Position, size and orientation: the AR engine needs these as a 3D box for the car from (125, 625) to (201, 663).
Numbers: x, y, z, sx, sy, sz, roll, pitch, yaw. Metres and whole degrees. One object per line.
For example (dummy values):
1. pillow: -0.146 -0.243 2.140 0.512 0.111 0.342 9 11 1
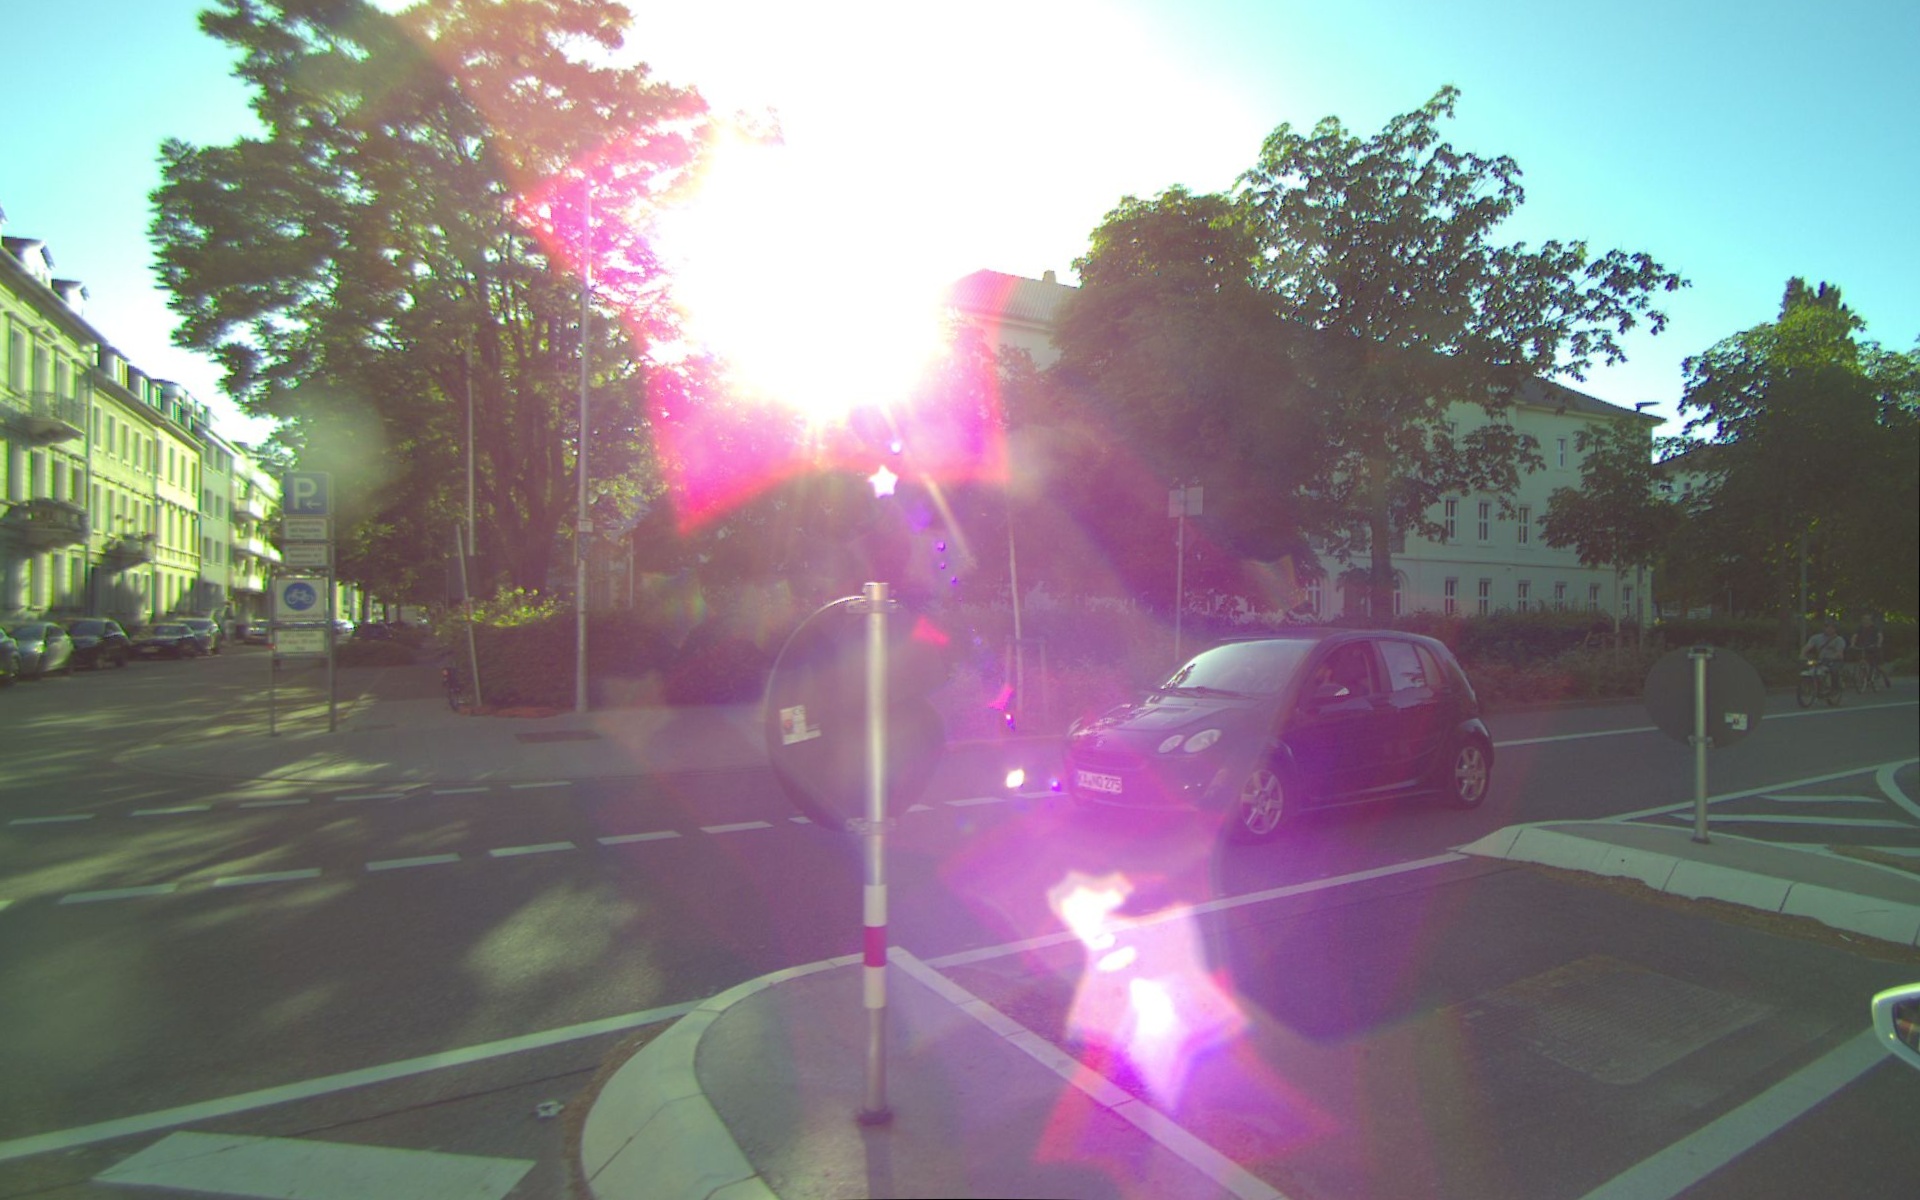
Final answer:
1. car: -32.071 1.735 40.533 1.789 1.439 3.969 1 -2 -29

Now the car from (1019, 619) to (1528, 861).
1. car: 2.570 0.903 7.966 3.957 1.478 1.748 1 -2 -33

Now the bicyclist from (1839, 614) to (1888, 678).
1. bicyclist: 22.014 1.118 24.477 0.716 1.542 0.626 0 -4 -30

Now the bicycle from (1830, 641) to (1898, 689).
1. bicycle: 22.019 1.577 24.453 2.003 1.135 0.594 1 -4 -31

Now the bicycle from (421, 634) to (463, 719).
1. bicycle: -8.343 1.182 16.171 0.553 1.246 2.310 1 -1 -28

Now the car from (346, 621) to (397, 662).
1. car: -25.470 1.766 43.583 1.791 1.699 3.717 1 -2 -29

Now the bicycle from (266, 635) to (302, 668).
1. bicycle: -21.224 1.613 31.564 0.730 1.008 2.094 1 -3 -28

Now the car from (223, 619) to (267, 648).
1. car: -43.135 2.030 60.672 1.627 1.695 3.972 1 -2 -28

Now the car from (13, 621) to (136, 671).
1. car: -27.330 1.392 31.142 1.975 1.439 3.971 1 -2 -28

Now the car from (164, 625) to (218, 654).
1. car: -35.007 1.774 45.792 1.459 1.286 3.388 1 -2 -29

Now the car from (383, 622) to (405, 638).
1. car: -46.037 2.426 81.712 1.539 1.324 3.452 1 -2 -29

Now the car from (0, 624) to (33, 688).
1. car: -22.574 1.257 22.352 1.935 1.439 4.167 1 -2 -30

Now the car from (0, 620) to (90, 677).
1. car: -25.077 1.264 26.893 1.856 1.439 4.237 1 -2 -29

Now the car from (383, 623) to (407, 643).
1. car: -40.914 2.369 72.772 1.512 1.445 3.716 1 -1 -29

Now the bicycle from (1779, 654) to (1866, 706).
1. bicycle: 16.847 1.534 19.605 2.154 0.933 0.613 1 -2 -31

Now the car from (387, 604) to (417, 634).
1. car: -51.546 1.808 92.874 2.382 2.681 5.068 1 -1 -29

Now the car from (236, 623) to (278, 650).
1. car: -45.701 2.335 65.383 1.805 1.706 3.970 1 -2 -29

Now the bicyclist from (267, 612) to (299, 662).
1. bicyclist: -21.066 1.155 31.272 0.731 1.505 0.660 1 -3 -28

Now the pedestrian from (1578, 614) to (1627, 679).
1. pedestrian: 18.932 1.357 29.603 0.989 1.876 0.852 1 -2 -29

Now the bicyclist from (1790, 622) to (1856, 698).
1. bicyclist: 16.872 1.164 19.642 0.959 1.437 0.643 0 -4 -30
